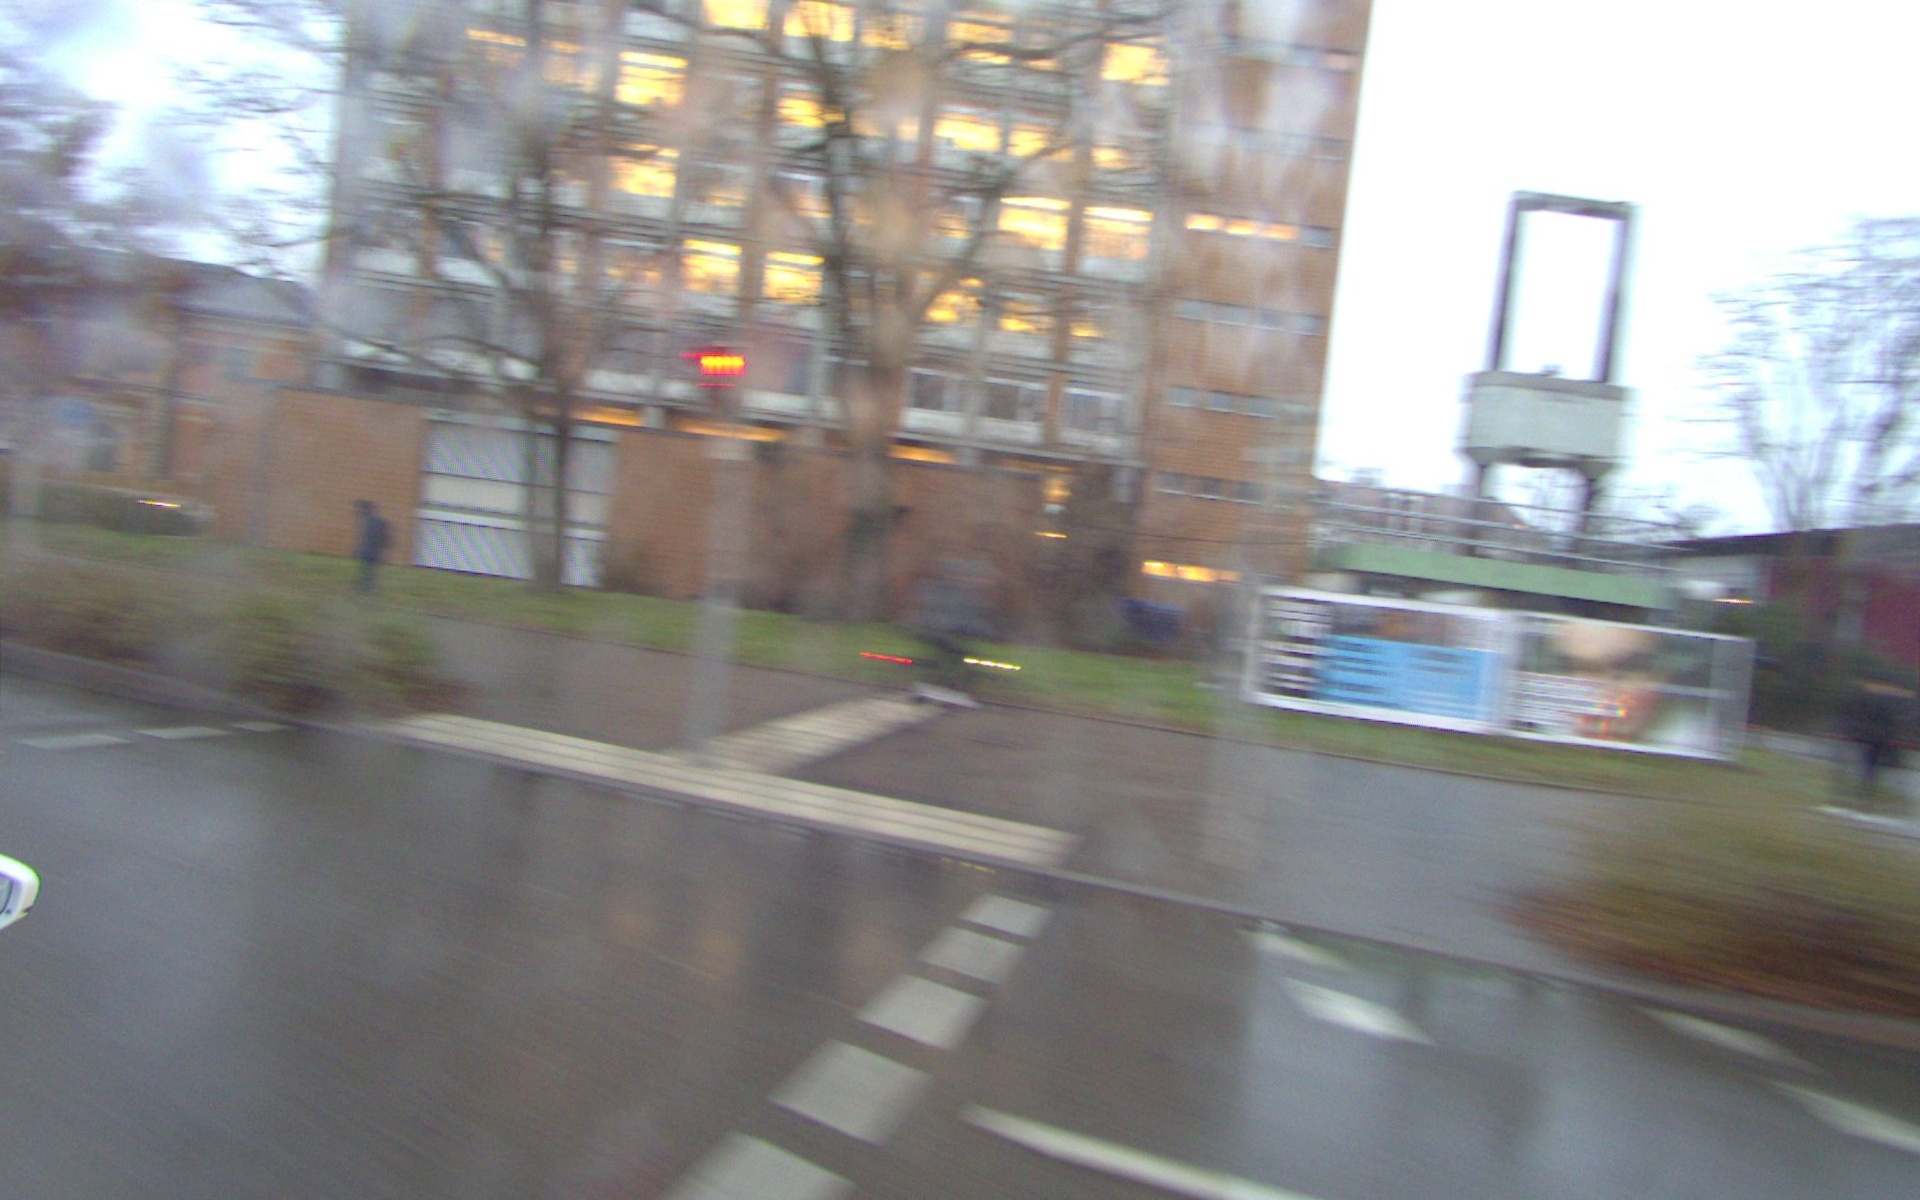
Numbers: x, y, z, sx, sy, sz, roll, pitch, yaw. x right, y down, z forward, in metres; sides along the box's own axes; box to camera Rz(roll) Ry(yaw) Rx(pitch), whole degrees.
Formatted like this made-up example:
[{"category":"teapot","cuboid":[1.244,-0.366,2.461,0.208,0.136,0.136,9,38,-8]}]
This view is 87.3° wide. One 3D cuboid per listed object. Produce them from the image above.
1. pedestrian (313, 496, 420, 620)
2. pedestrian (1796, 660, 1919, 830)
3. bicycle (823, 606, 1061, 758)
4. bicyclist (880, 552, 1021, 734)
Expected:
[{"category":"pedestrian","cuboid":[-8.868,-0.615,15.050,1.050,1.710,0.809,7,3,21]},{"category":"pedestrian","cuboid":[10.403,1.628,11.397,0.916,1.710,0.906,6,4,-25]},{"category":"bicycle","cuboid":[-0.182,0.778,10.181,2.172,1.157,0.805,7,4,17]},{"category":"bicyclist","cuboid":[-0.086,0.401,10.150,1.065,1.641,0.805,7,5,17]}]
